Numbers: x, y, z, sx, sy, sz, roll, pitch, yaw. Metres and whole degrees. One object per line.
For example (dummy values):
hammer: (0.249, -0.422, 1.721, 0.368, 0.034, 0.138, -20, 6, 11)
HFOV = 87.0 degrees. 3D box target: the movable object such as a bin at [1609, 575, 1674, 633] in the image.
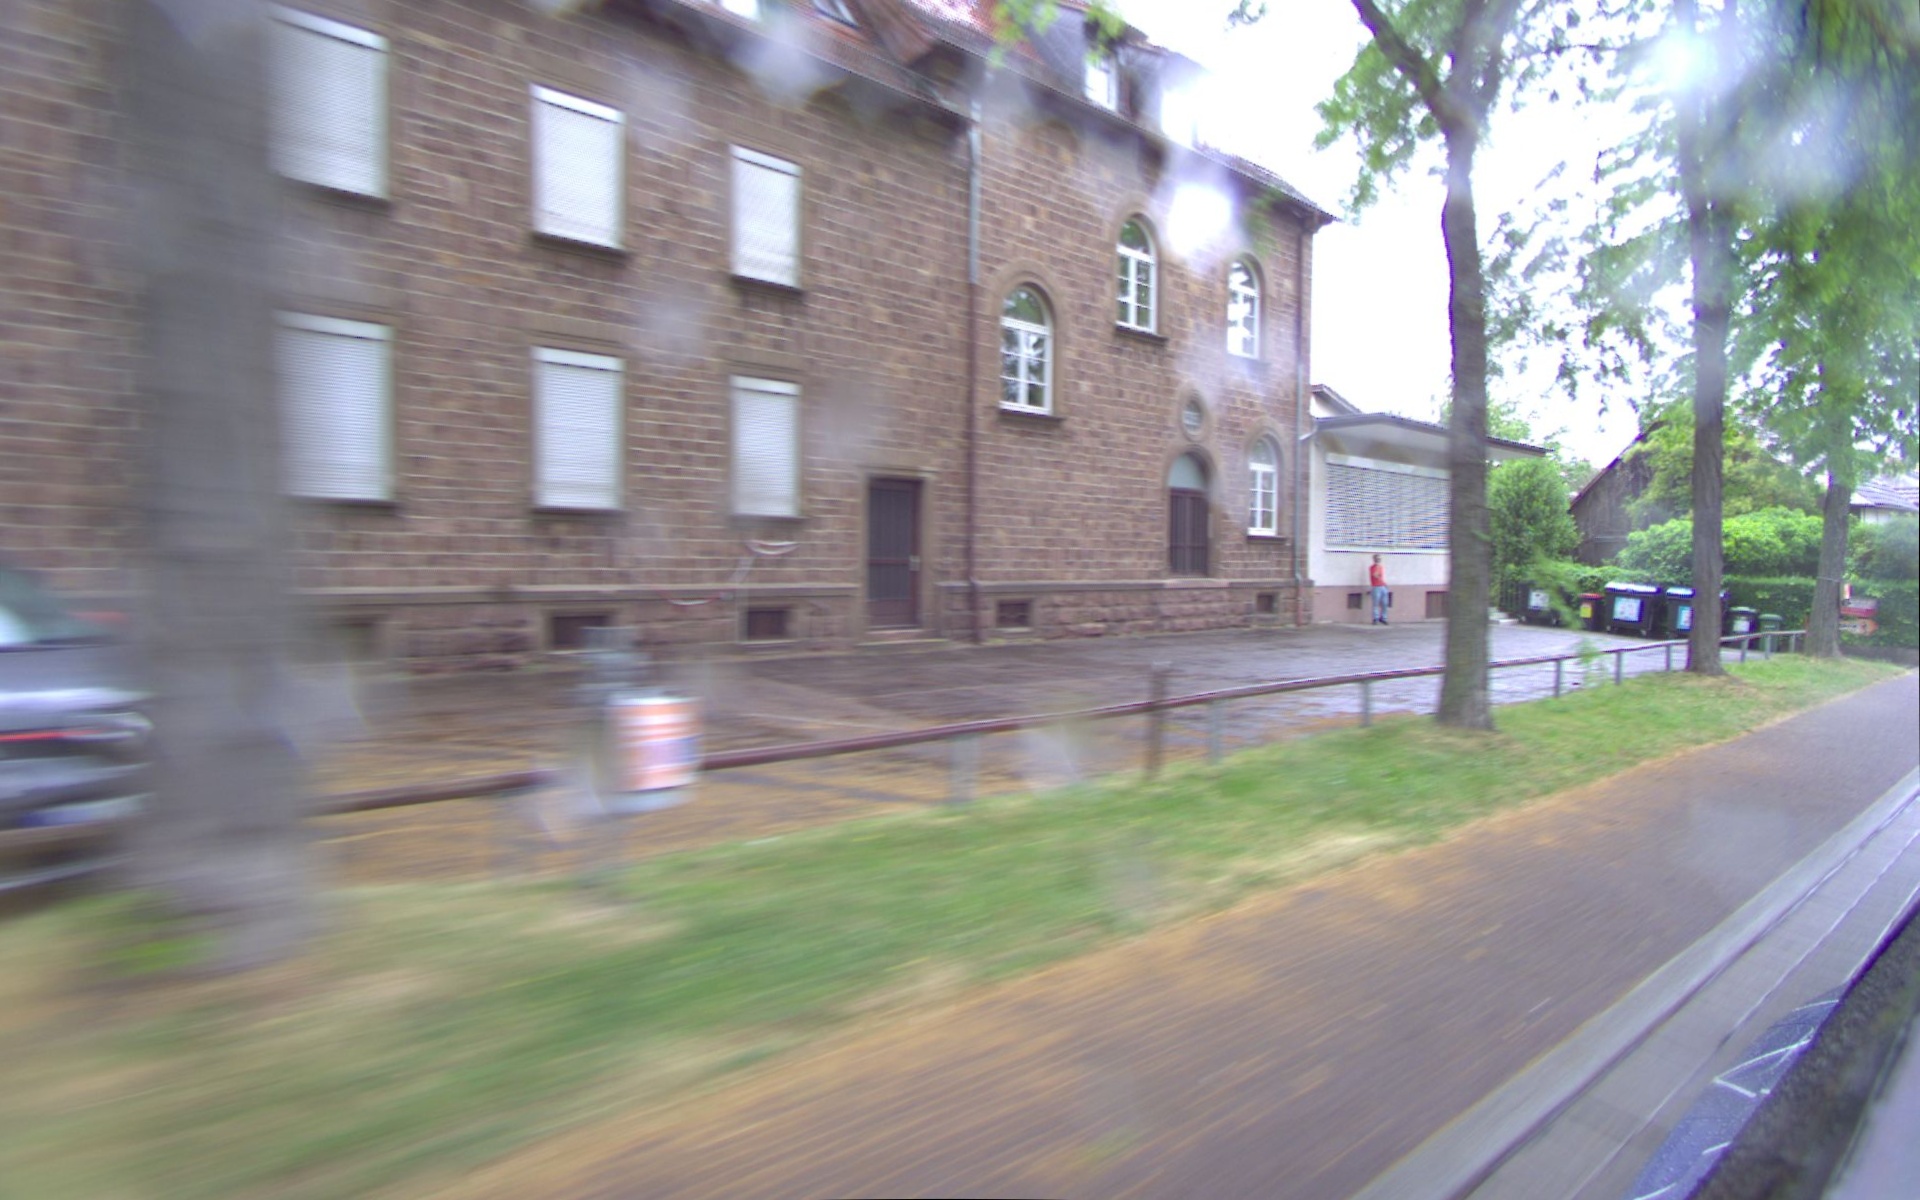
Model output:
movable object such as a bin: (18.823, 0.104, 27.955, 0.782, 1.453, 1.238, 0, 6, -42)

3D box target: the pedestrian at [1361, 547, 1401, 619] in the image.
pedestrian: (10.604, -0.416, 25.481, 0.851, 1.776, 0.535, 2, 1, -41)

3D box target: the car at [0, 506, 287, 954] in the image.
car: (-5.034, 0.411, 4.286, 3.556, 1.570, 1.617, 1, 2, 11)

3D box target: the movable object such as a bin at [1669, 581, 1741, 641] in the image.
movable object such as a bin: (19.701, 0.264, 26.778, 0.782, 1.435, 1.296, 0, 5, -42)

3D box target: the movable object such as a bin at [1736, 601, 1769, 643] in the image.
movable object such as a bin: (20.424, 0.565, 26.083, 0.455, 1.035, 0.538, 0, 5, -42)

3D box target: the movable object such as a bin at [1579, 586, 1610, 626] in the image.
movable object such as a bin: (18.115, 0.156, 28.893, 0.521, 1.092, 0.568, 0, 5, -42)

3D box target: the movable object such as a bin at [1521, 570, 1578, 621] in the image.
movable object such as a bin: (17.278, -0.144, 29.648, 0.782, 1.358, 1.151, 0, 6, -41)
